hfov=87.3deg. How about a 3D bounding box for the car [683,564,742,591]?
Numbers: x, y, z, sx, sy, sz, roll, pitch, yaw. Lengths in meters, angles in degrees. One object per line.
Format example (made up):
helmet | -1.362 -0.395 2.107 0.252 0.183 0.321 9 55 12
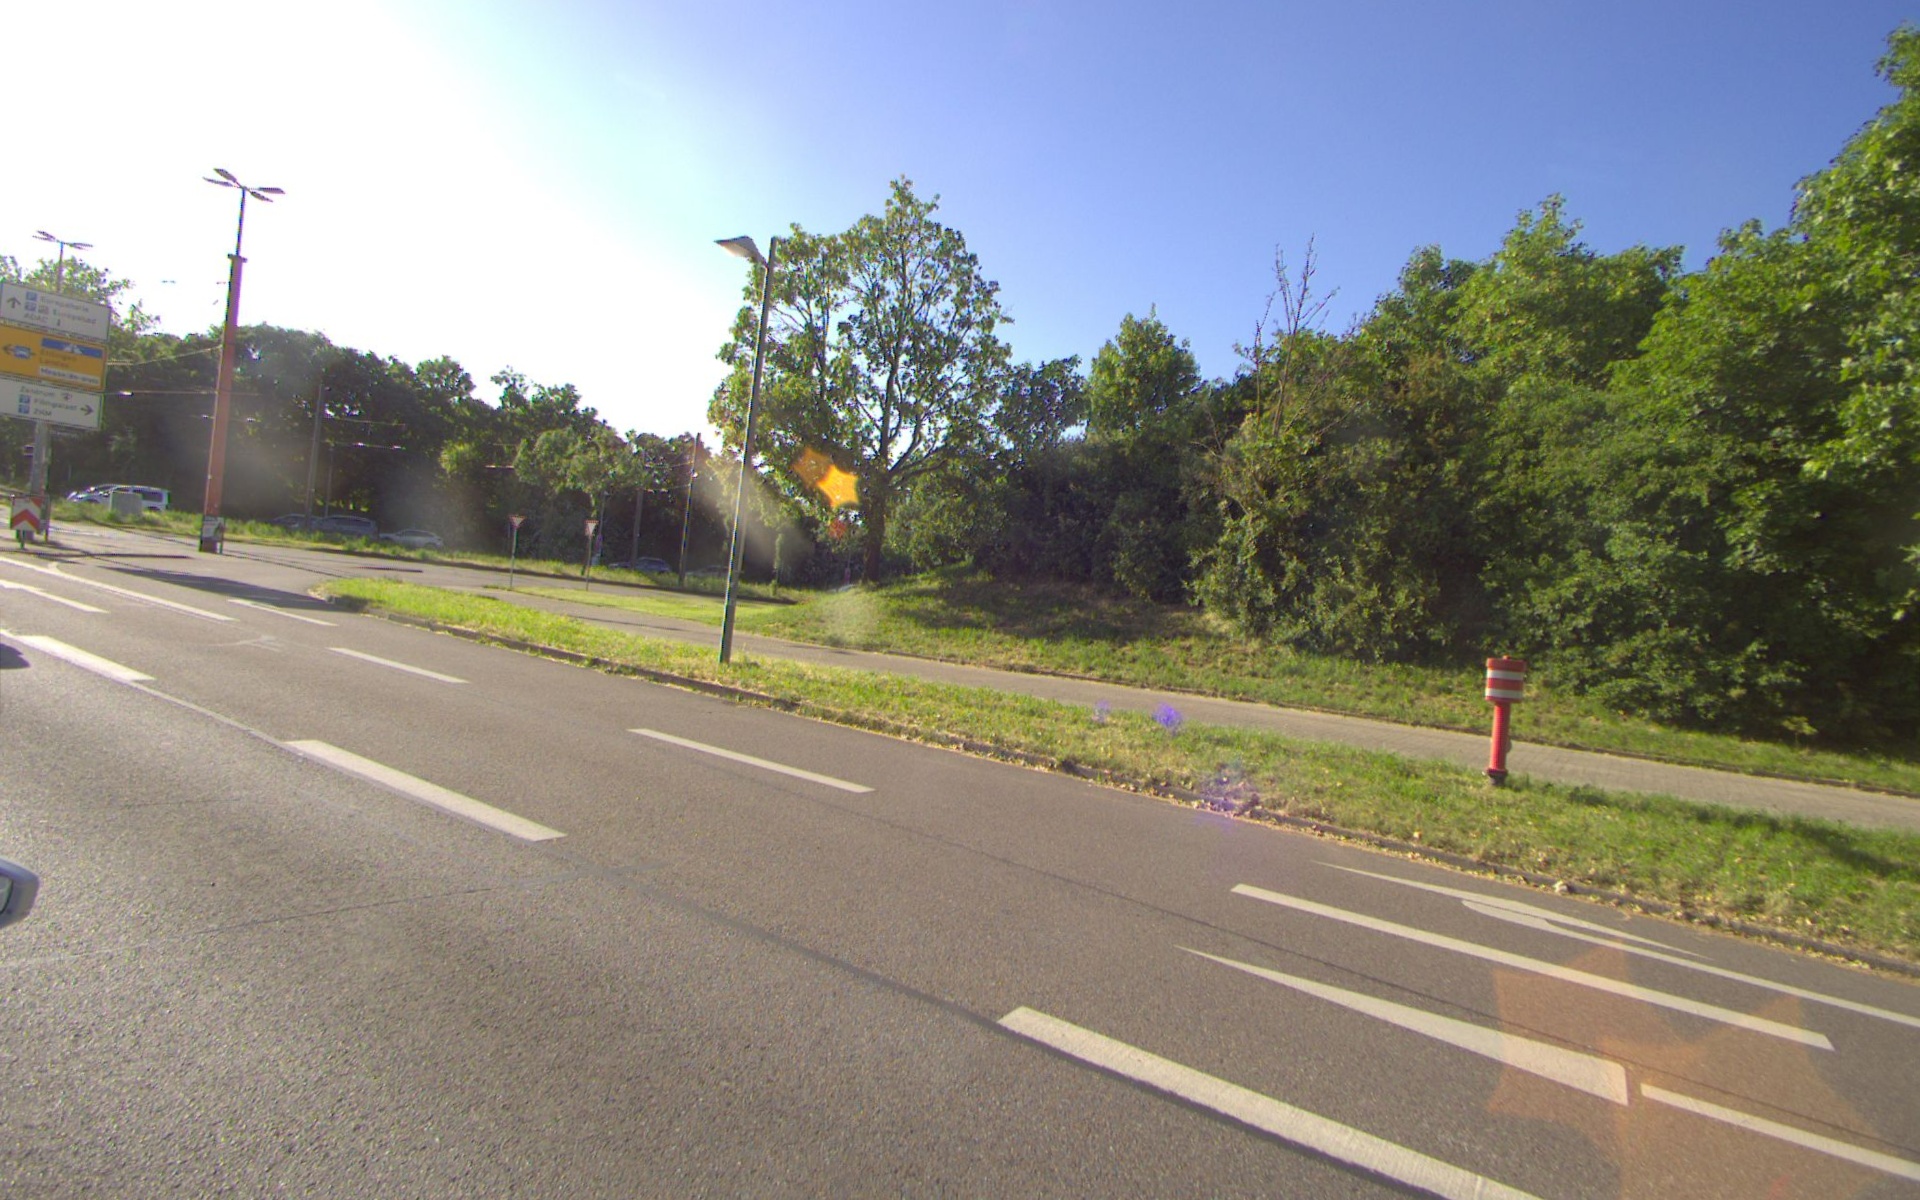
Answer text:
car | -19.075 -1.723 77.609 3.959 1.546 1.845 8 -1 -31

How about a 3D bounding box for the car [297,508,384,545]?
car | -37.956 -4.470 61.720 4.323 1.577 1.856 8 -1 -33

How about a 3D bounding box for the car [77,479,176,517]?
car | -46.656 -5.678 56.398 3.960 1.353 1.715 8 -1 -32

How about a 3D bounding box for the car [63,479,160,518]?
car | -49.208 -5.853 58.454 3.961 1.493 1.774 8 -1 -32

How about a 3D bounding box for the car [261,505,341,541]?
car | -41.432 -4.816 63.356 3.959 1.579 1.884 8 -1 -31

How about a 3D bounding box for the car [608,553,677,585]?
car | -22.571 -2.208 71.507 4.230 1.646 1.913 8 -1 -31

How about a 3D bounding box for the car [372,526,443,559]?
car | -36.365 -3.754 66.208 3.959 1.513 1.846 8 -1 -31

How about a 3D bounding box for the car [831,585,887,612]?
car | -8.048 -0.114 80.203 3.958 1.600 1.858 8 -1 -30
